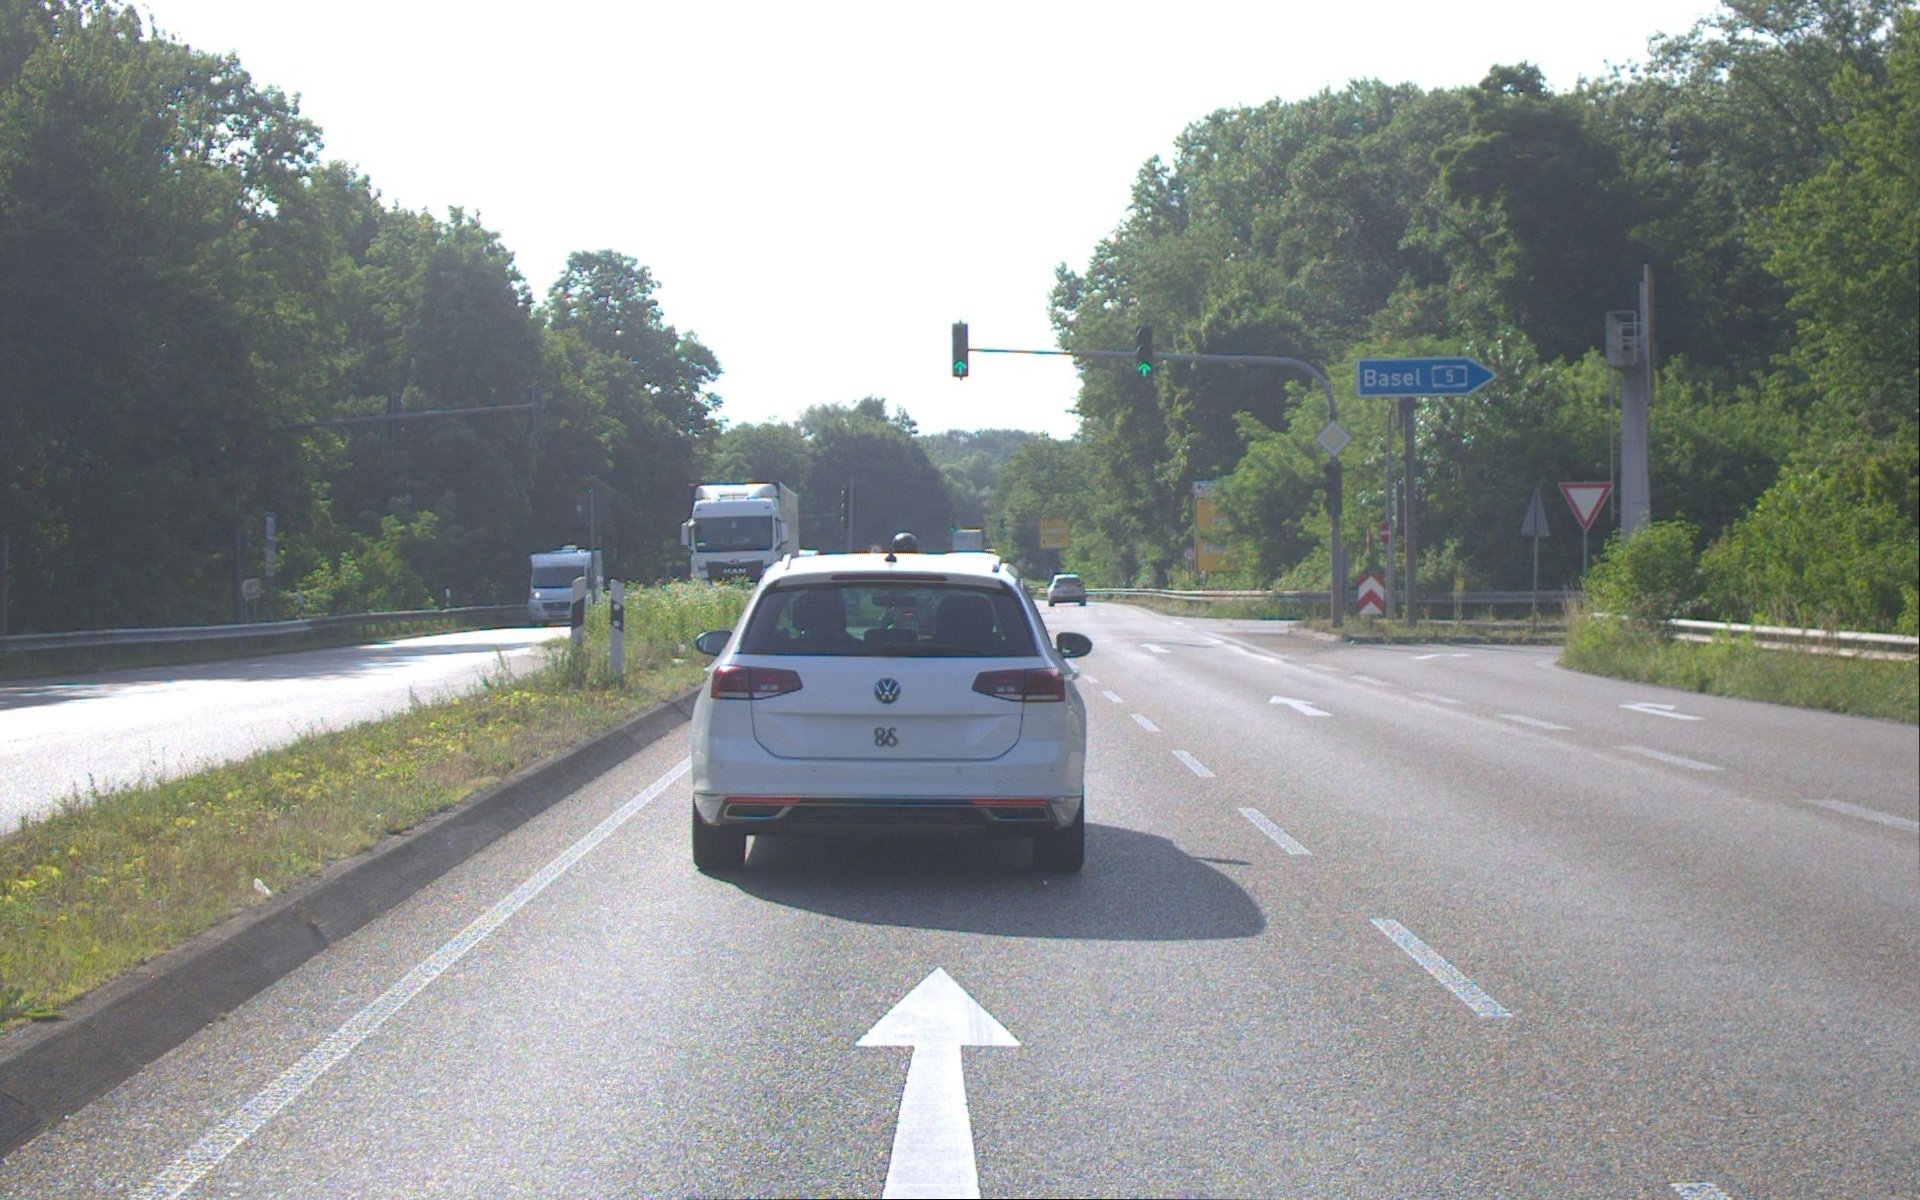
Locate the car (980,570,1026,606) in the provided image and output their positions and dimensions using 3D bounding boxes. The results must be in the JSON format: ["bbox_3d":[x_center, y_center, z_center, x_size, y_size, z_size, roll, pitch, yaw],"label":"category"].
[{"bbox_3d":[1.700,-0.480,134.788,1.761,1.375,3.971,1,1,1],"label":"car"}]

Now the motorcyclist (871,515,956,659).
[{"bbox_3d":[-0.527,-0.153,39.561,0.884,1.610,1.290,1,0,2],"label":"motorcyclist"}]

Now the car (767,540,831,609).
[{"bbox_3d":[-6.188,-0.997,132.467,2.075,2.525,6.164,-2,1,0],"label":"car"}]

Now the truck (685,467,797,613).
[{"bbox_3d":[-6.213,-1.701,98.504,2.890,3.984,6.722,1,1,-1],"label":"truck"}]

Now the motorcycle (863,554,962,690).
[{"bbox_3d":[-0.520,0.227,39.433,0.909,1.448,2.689,-4,1,2],"label":"motorcycle"}]

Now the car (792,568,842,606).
[{"bbox_3d":[-5.778,-0.559,139.278,1.760,1.451,5.186,-2,1,0],"label":"car"}]

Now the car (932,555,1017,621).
[{"bbox_3d":[0.341,-0.271,74.491,1.761,1.375,3.971,1,1,1],"label":"car"}]

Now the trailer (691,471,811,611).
[{"bbox_3d":[-6.331,-1.778,106.246,2.991,3.982,14.014,1,1,-1],"label":"trailer"}]

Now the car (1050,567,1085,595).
[{"bbox_3d":[5.602,-1.005,179.504,1.761,1.375,3.971,-1,1,1],"label":"car"}]

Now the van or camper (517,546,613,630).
[{"bbox_3d":[-13.591,-0.420,118.713,2.413,2.701,6.437,-3,0,0],"label":"van or camper"}]

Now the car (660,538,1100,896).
[{"bbox_3d":[-0.313,0.473,17.066,1.870,1.516,4.834,0,1,1],"label":"car"}]
